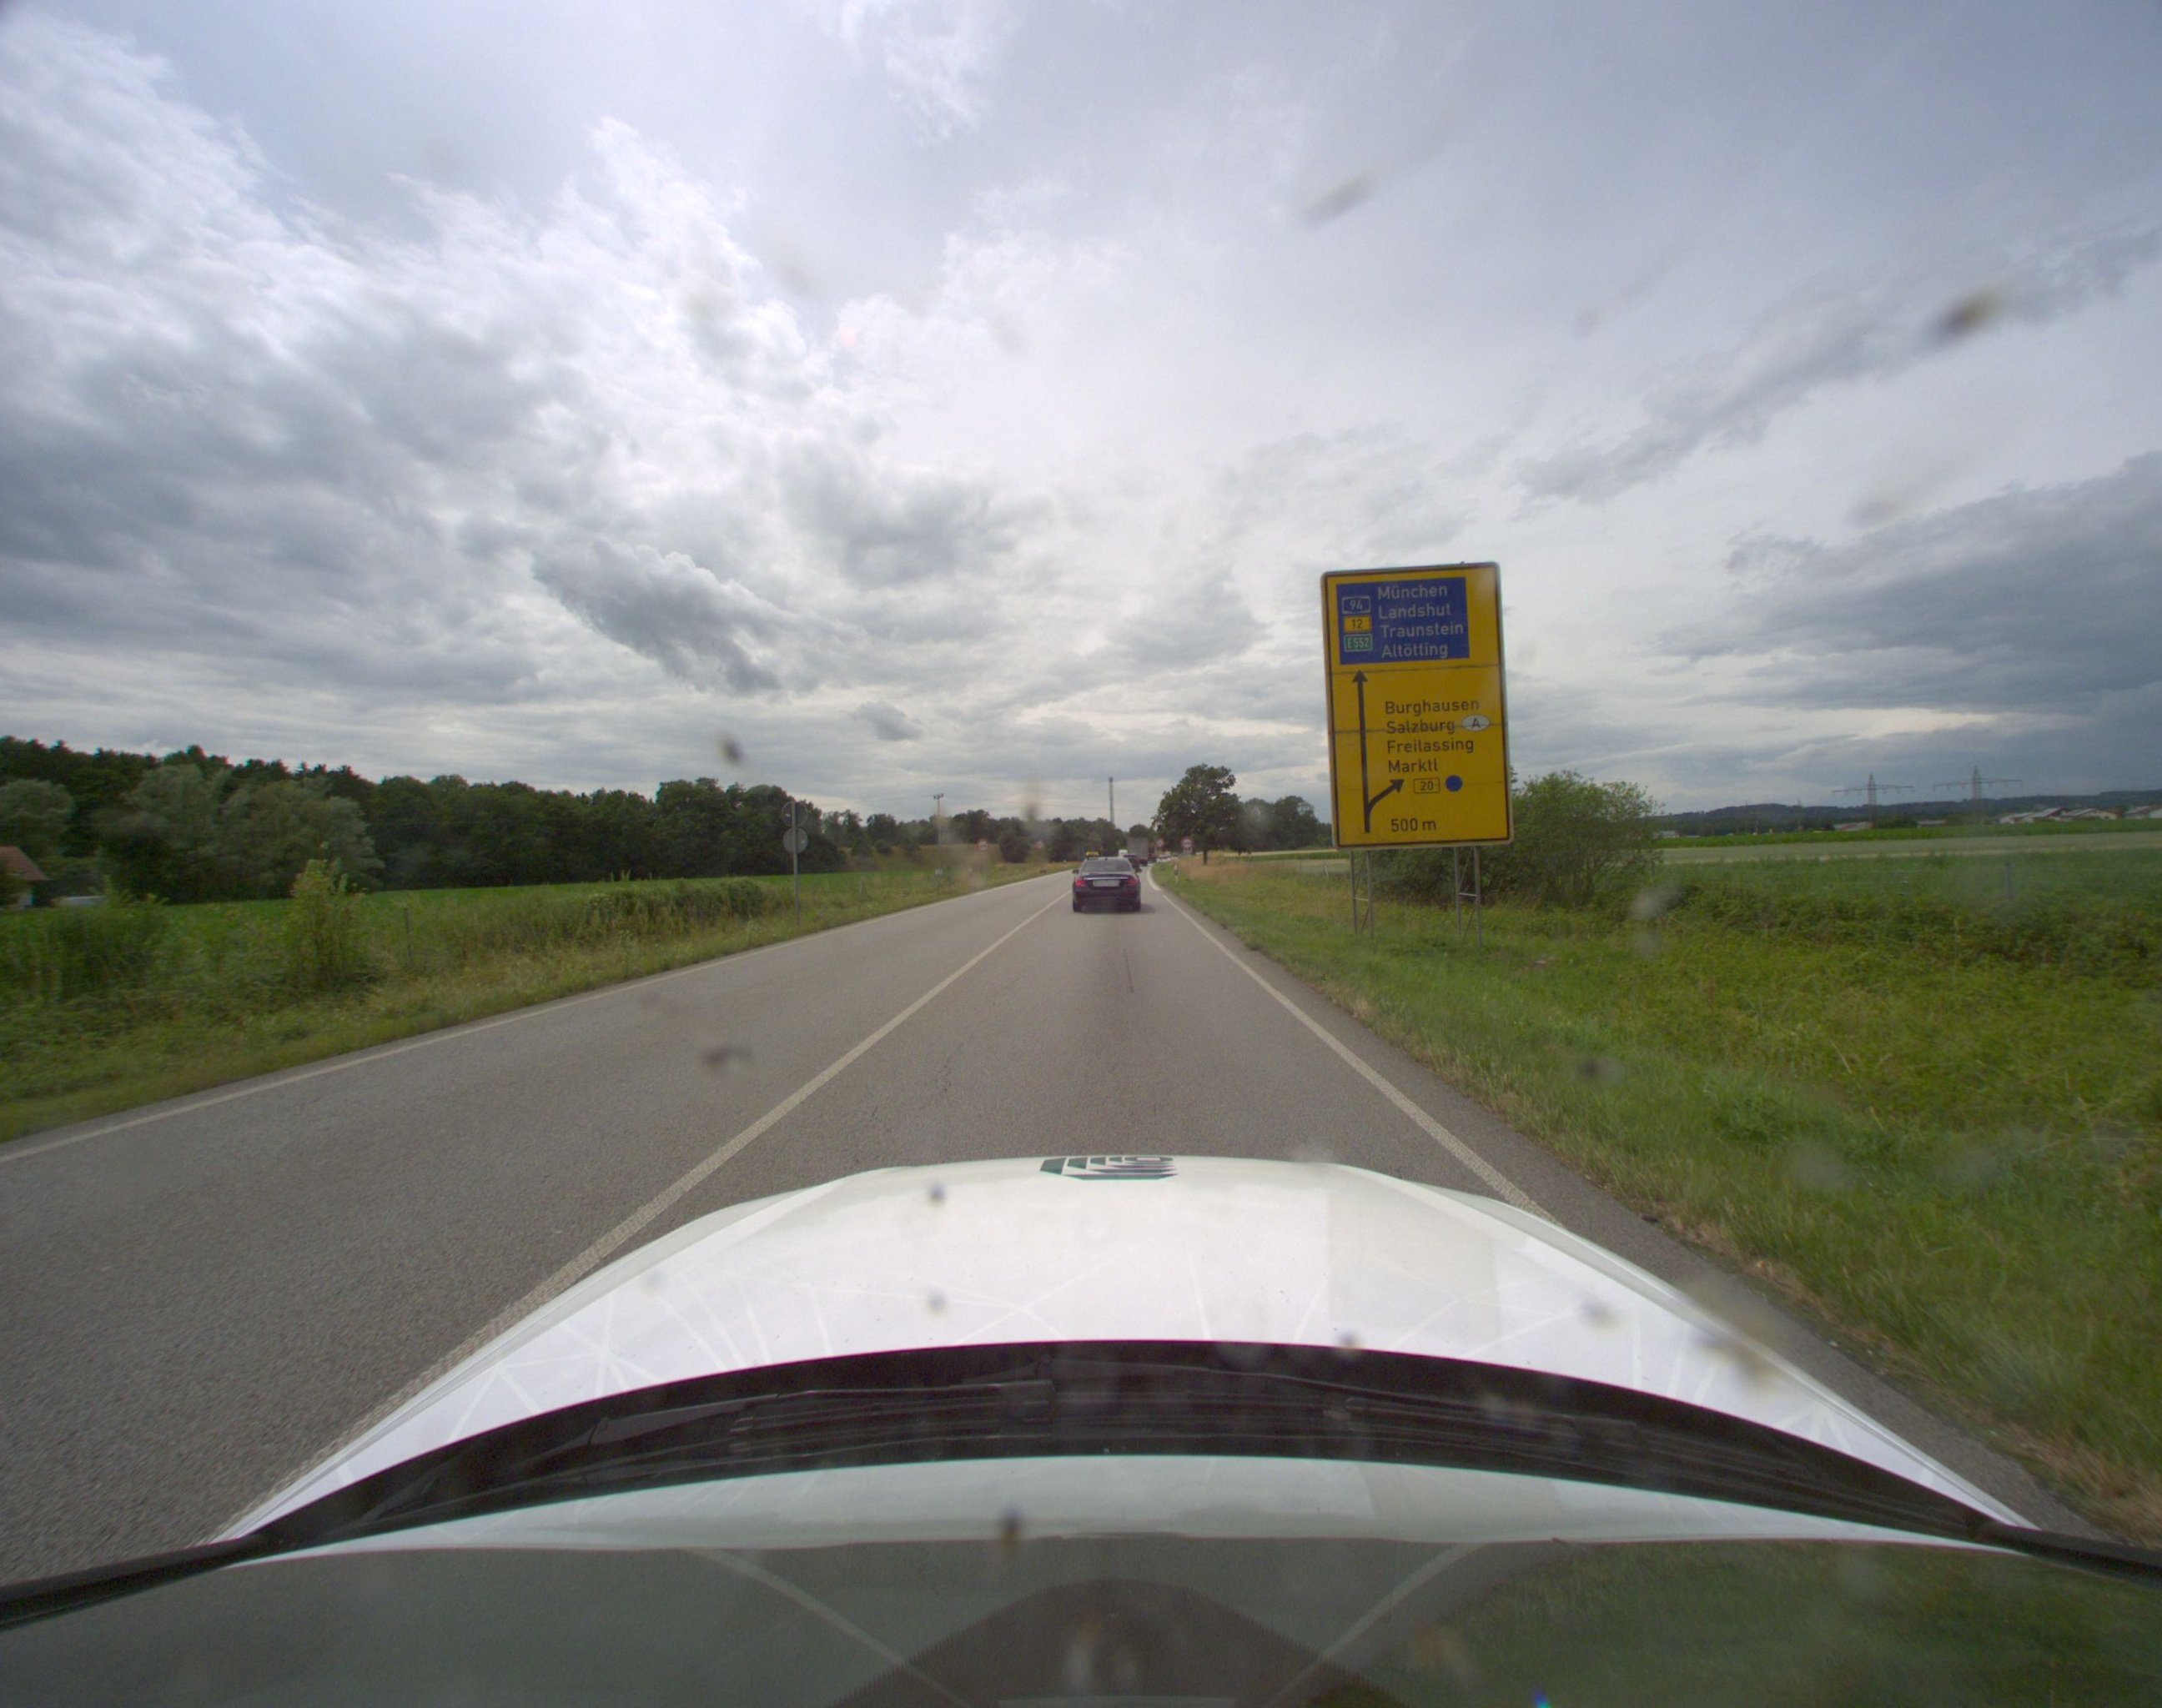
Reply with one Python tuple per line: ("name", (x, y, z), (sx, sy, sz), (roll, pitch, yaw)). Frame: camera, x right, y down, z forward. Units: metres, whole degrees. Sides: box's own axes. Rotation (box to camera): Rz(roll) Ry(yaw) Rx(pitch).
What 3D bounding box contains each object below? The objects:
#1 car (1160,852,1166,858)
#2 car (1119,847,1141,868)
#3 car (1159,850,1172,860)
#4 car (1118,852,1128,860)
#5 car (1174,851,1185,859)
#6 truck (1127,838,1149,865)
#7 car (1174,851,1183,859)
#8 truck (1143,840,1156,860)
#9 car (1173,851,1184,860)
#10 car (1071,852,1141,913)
("car", (21.520, 0.286, 214.219), (1.641, 1.395, 3.712), (0, -1, 6))
("car", (4.883, 0.326, 81.299), (1.986, 2.014, 4.001), (0, -1, 1))
("car", (14.140, 0.221, 136.480), (1.789, 1.662, 4.001), (0, -1, 1))
("car", (9.149, 0.381, 176.145), (1.997, 1.657, 4.332), (0, -1, 4))
("car", (20.622, 0.283, 170.781), (1.789, 1.662, 4.001), (0, -1, 1))
("truck", (7.457, -0.283, 105.984), (2.574, 3.524, 4.821), (0, -1, 6))
("car", (22.071, 0.284, 184.545), (1.789, 1.662, 4.001), (0, -1, 1))
("truck", (12.195, -0.666, 145.560), (1.986, 3.526, 4.593), (0, -1, 1))
("car", (18.622, 0.279, 155.887), (1.789, 1.662, 4.001), (0, -1, 1))
("car", (0.682, 0.740, 22.794), (1.789, 1.560, 4.001), (0, -1, 1))
